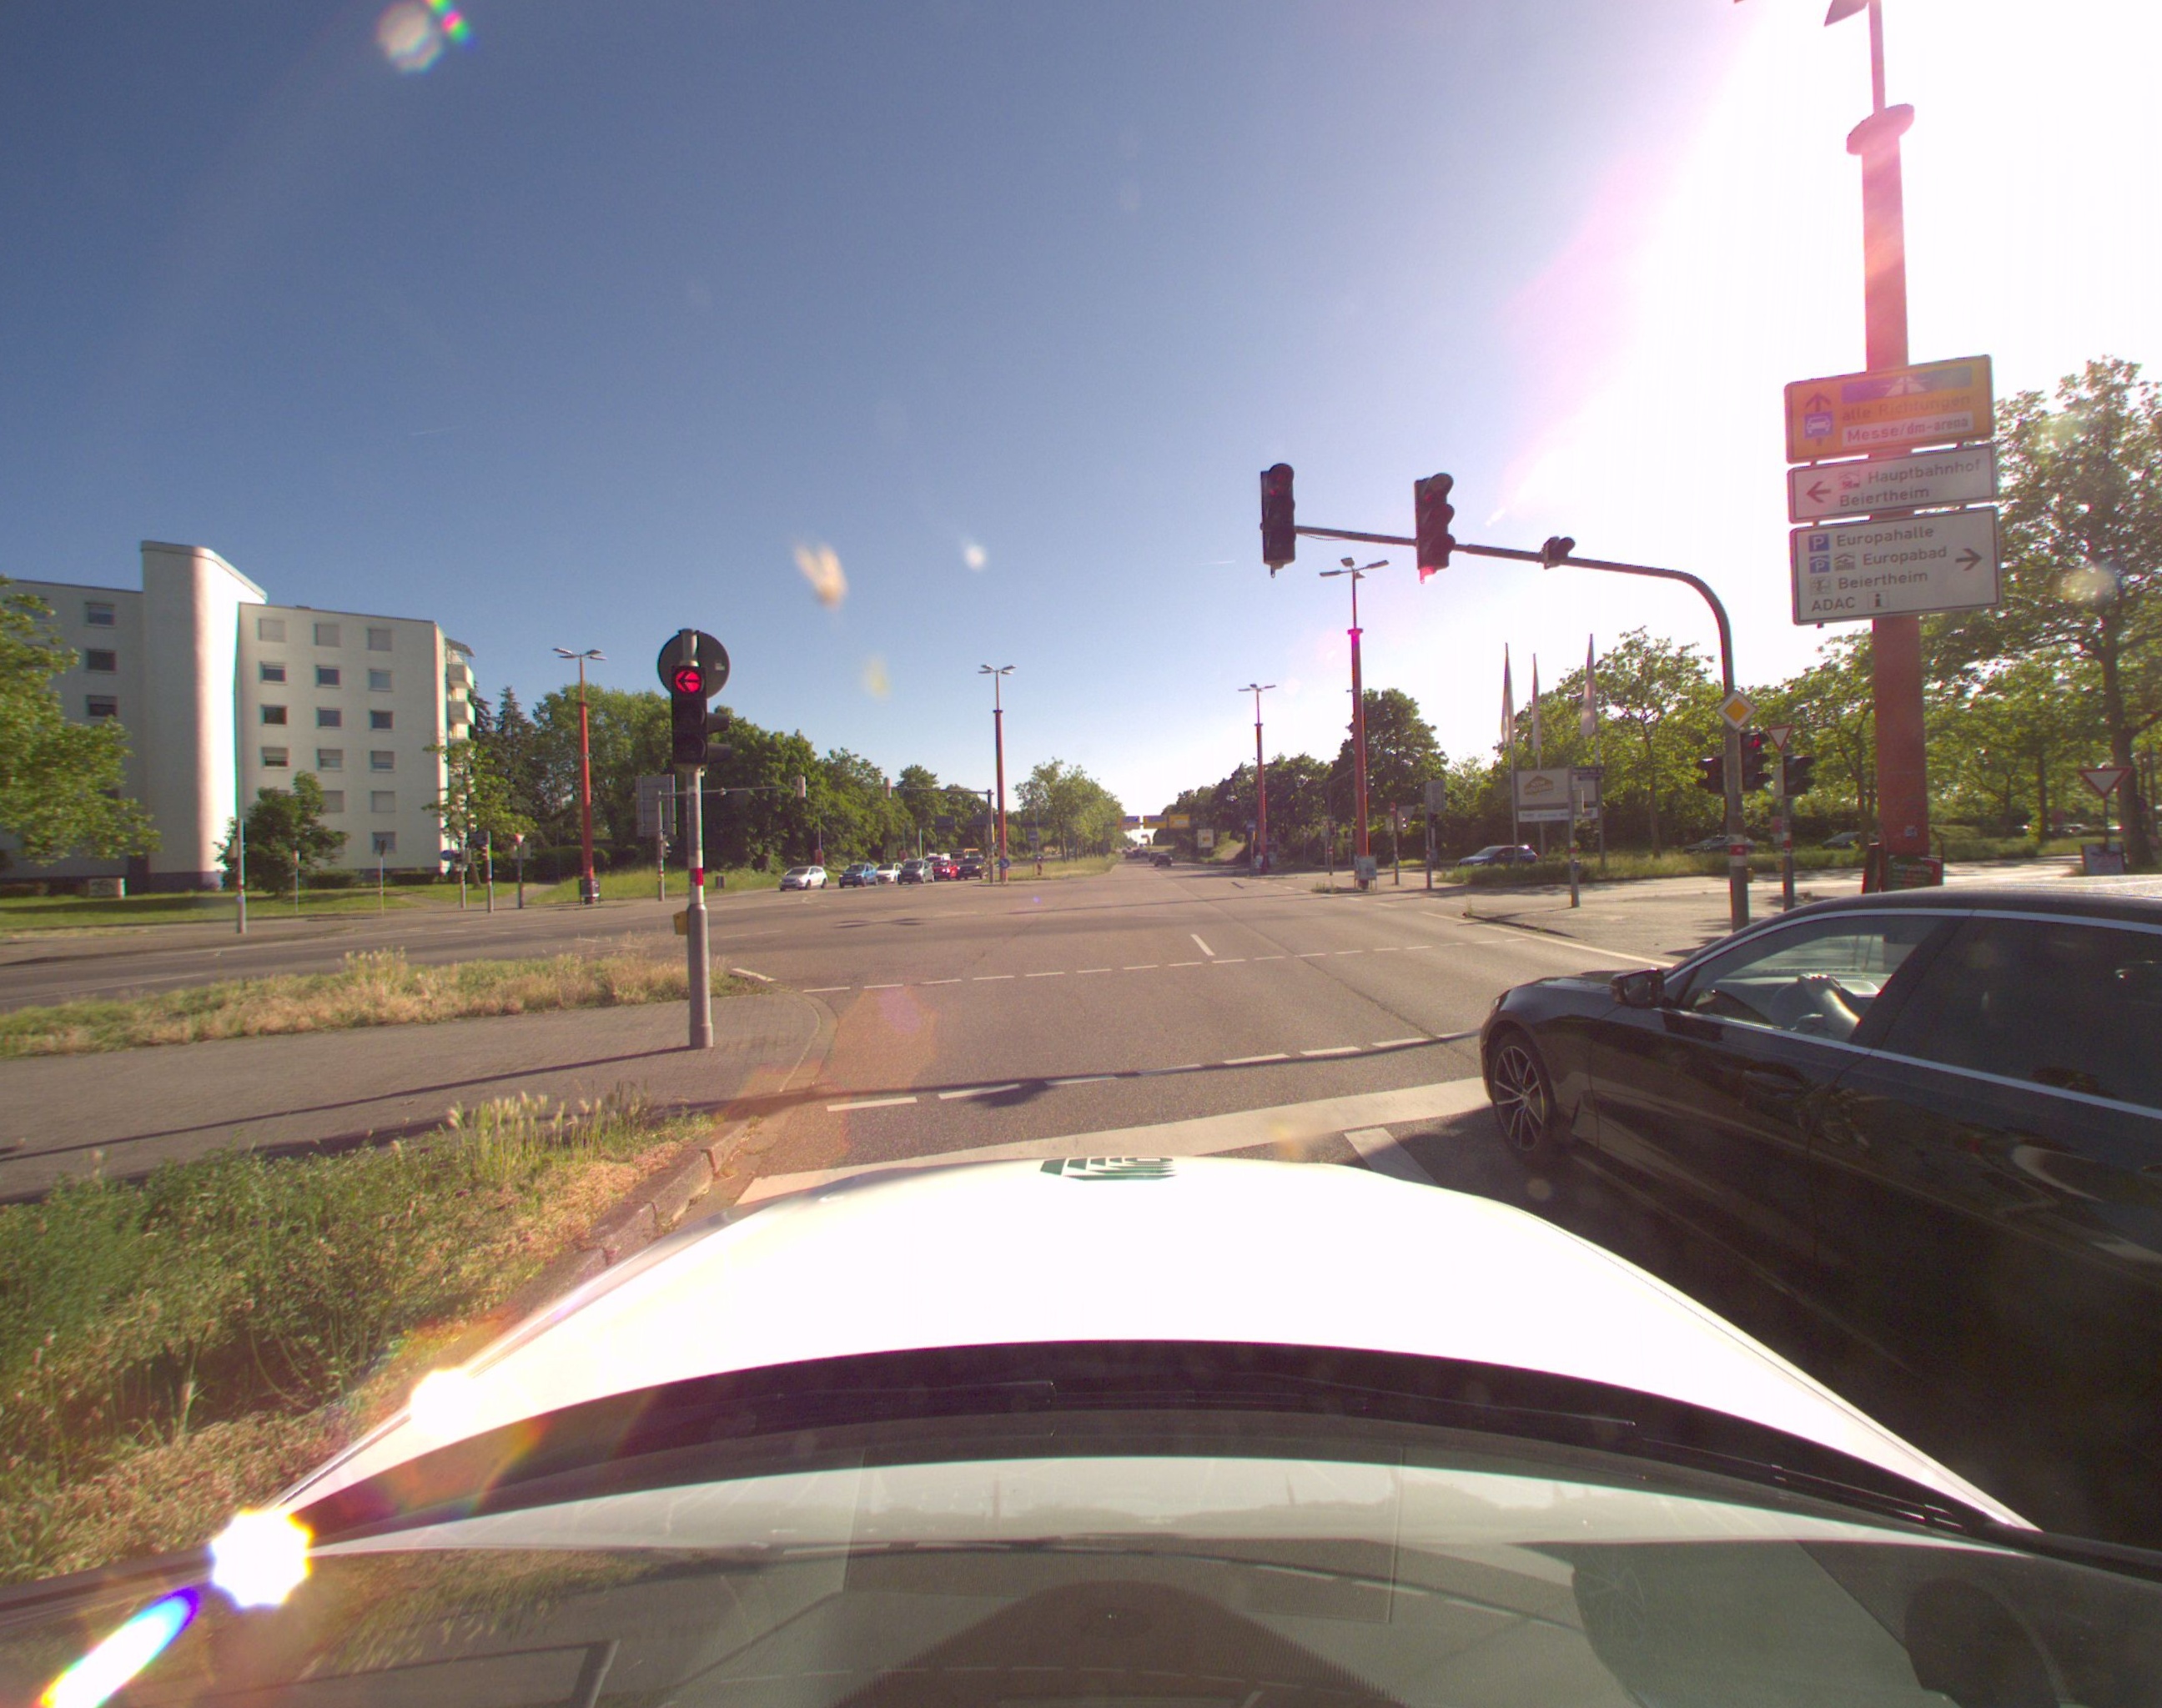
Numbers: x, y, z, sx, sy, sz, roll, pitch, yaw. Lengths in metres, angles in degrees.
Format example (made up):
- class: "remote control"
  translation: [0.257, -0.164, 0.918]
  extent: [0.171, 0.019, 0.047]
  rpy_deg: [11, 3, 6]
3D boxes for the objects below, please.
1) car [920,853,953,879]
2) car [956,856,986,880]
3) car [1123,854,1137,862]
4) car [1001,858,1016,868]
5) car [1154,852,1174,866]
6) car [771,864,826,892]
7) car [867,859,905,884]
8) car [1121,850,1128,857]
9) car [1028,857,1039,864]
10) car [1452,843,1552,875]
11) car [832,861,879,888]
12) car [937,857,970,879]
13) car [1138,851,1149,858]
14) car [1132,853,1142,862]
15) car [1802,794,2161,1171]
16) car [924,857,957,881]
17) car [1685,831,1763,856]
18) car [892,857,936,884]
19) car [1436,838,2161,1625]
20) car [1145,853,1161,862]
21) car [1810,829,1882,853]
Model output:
- class: "car"
  translation: [-12.732, 1.051, 71.981]
  extent: [2.055, 2.193, 4.377]
  rpy_deg: [-2, 0, 0]
- class: "car"
  translation: [-7.563, 0.938, 56.485]
  extent: [1.874, 1.573, 4.112]
  rpy_deg: [-2, 0, -6]
- class: "car"
  translation: [9.782, 0.732, 163.198]
  extent: [2.241, 1.573, 4.276]
  rpy_deg: [-2, 0, -3]
- class: "car"
  translation: [-11.927, 1.423, 134.107]
  extent: [1.986, 1.573, 4.121]
  rpy_deg: [-2, 0, 1]
- class: "car"
  translation: [9.712, 0.603, 95.932]
  extent: [2.149, 1.573, 4.285]
  rpy_deg: [-2, 0, 4]
- class: "car"
  translation: [-17.690, 1.466, 51.176]
  extent: [1.987, 1.573, 4.120]
  rpy_deg: [-2, 0, 0]
- class: "car"
  translation: [-13.735, 1.215, 57.518]
  extent: [1.991, 1.573, 4.112]
  rpy_deg: [-3, 0, -6]
- class: "car"
  translation: [13.020, -0.275, 242.369]
  extent: [1.986, 2.013, 4.002]
  rpy_deg: [-2, 0, 2]
- class: "car"
  translation: [-10.483, 1.537, 180.343]
  extent: [1.877, 1.454, 3.658]
  rpy_deg: [-2, 0, 2]
- class: "car"
  translation: [20.810, 0.232, 40.271]
  extent: [4.276, 1.428, 1.874]
  rpy_deg: [-2, 0, -16]
- class: "car"
  translation: [-14.233, 1.283, 51.636]
  extent: [1.989, 1.573, 4.116]
  rpy_deg: [-2, 0, -3]
- class: "car"
  translation: [-10.063, 1.091, 64.649]
  extent: [1.988, 1.573, 4.118]
  rpy_deg: [-2, 0, -1]
- class: "car"
  translation: [15.003, 0.160, 196.232]
  extent: [2.153, 1.573, 4.277]
  rpy_deg: [-2, 0, -2]
- class: "car"
  translation: [12.253, 0.810, 179.668]
  extent: [1.986, 2.013, 4.002]
  rpy_deg: [-2, 0, 2]
- class: "car"
  translation: [5.804, 0.563, 3.257]
  extent: [1.959, 1.686, 4.479]
  rpy_deg: [-1, 0, 2]
- class: "car"
  translation: [-10.100, 1.045, 58.867]
  extent: [1.991, 1.573, 4.112]
  rpy_deg: [-2, 0, -6]
- class: "car"
  translation: [44.249, -0.703, 56.056]
  extent: [4.584, 1.573, 2.151]
  rpy_deg: [-2, 0, -21]
- class: "car"
  translation: [-10.729, 1.045, 52.575]
  extent: [1.988, 1.573, 4.119]
  rpy_deg: [-2, 0, -1]
- class: "car"
  translation: [2.958, 0.668, 2.369]
  extent: [1.986, 1.394, 4.479]
  rpy_deg: [-2, 0, 2]
- class: "car"
  translation: [12.313, 0.603, 139.279]
  extent: [2.153, 1.573, 4.277]
  rpy_deg: [-2, 0, -2]
- class: "car"
  translation: [56.555, -0.964, 60.232]
  extent: [4.281, 1.573, 2.151]
  rpy_deg: [-2, 0, -20]
